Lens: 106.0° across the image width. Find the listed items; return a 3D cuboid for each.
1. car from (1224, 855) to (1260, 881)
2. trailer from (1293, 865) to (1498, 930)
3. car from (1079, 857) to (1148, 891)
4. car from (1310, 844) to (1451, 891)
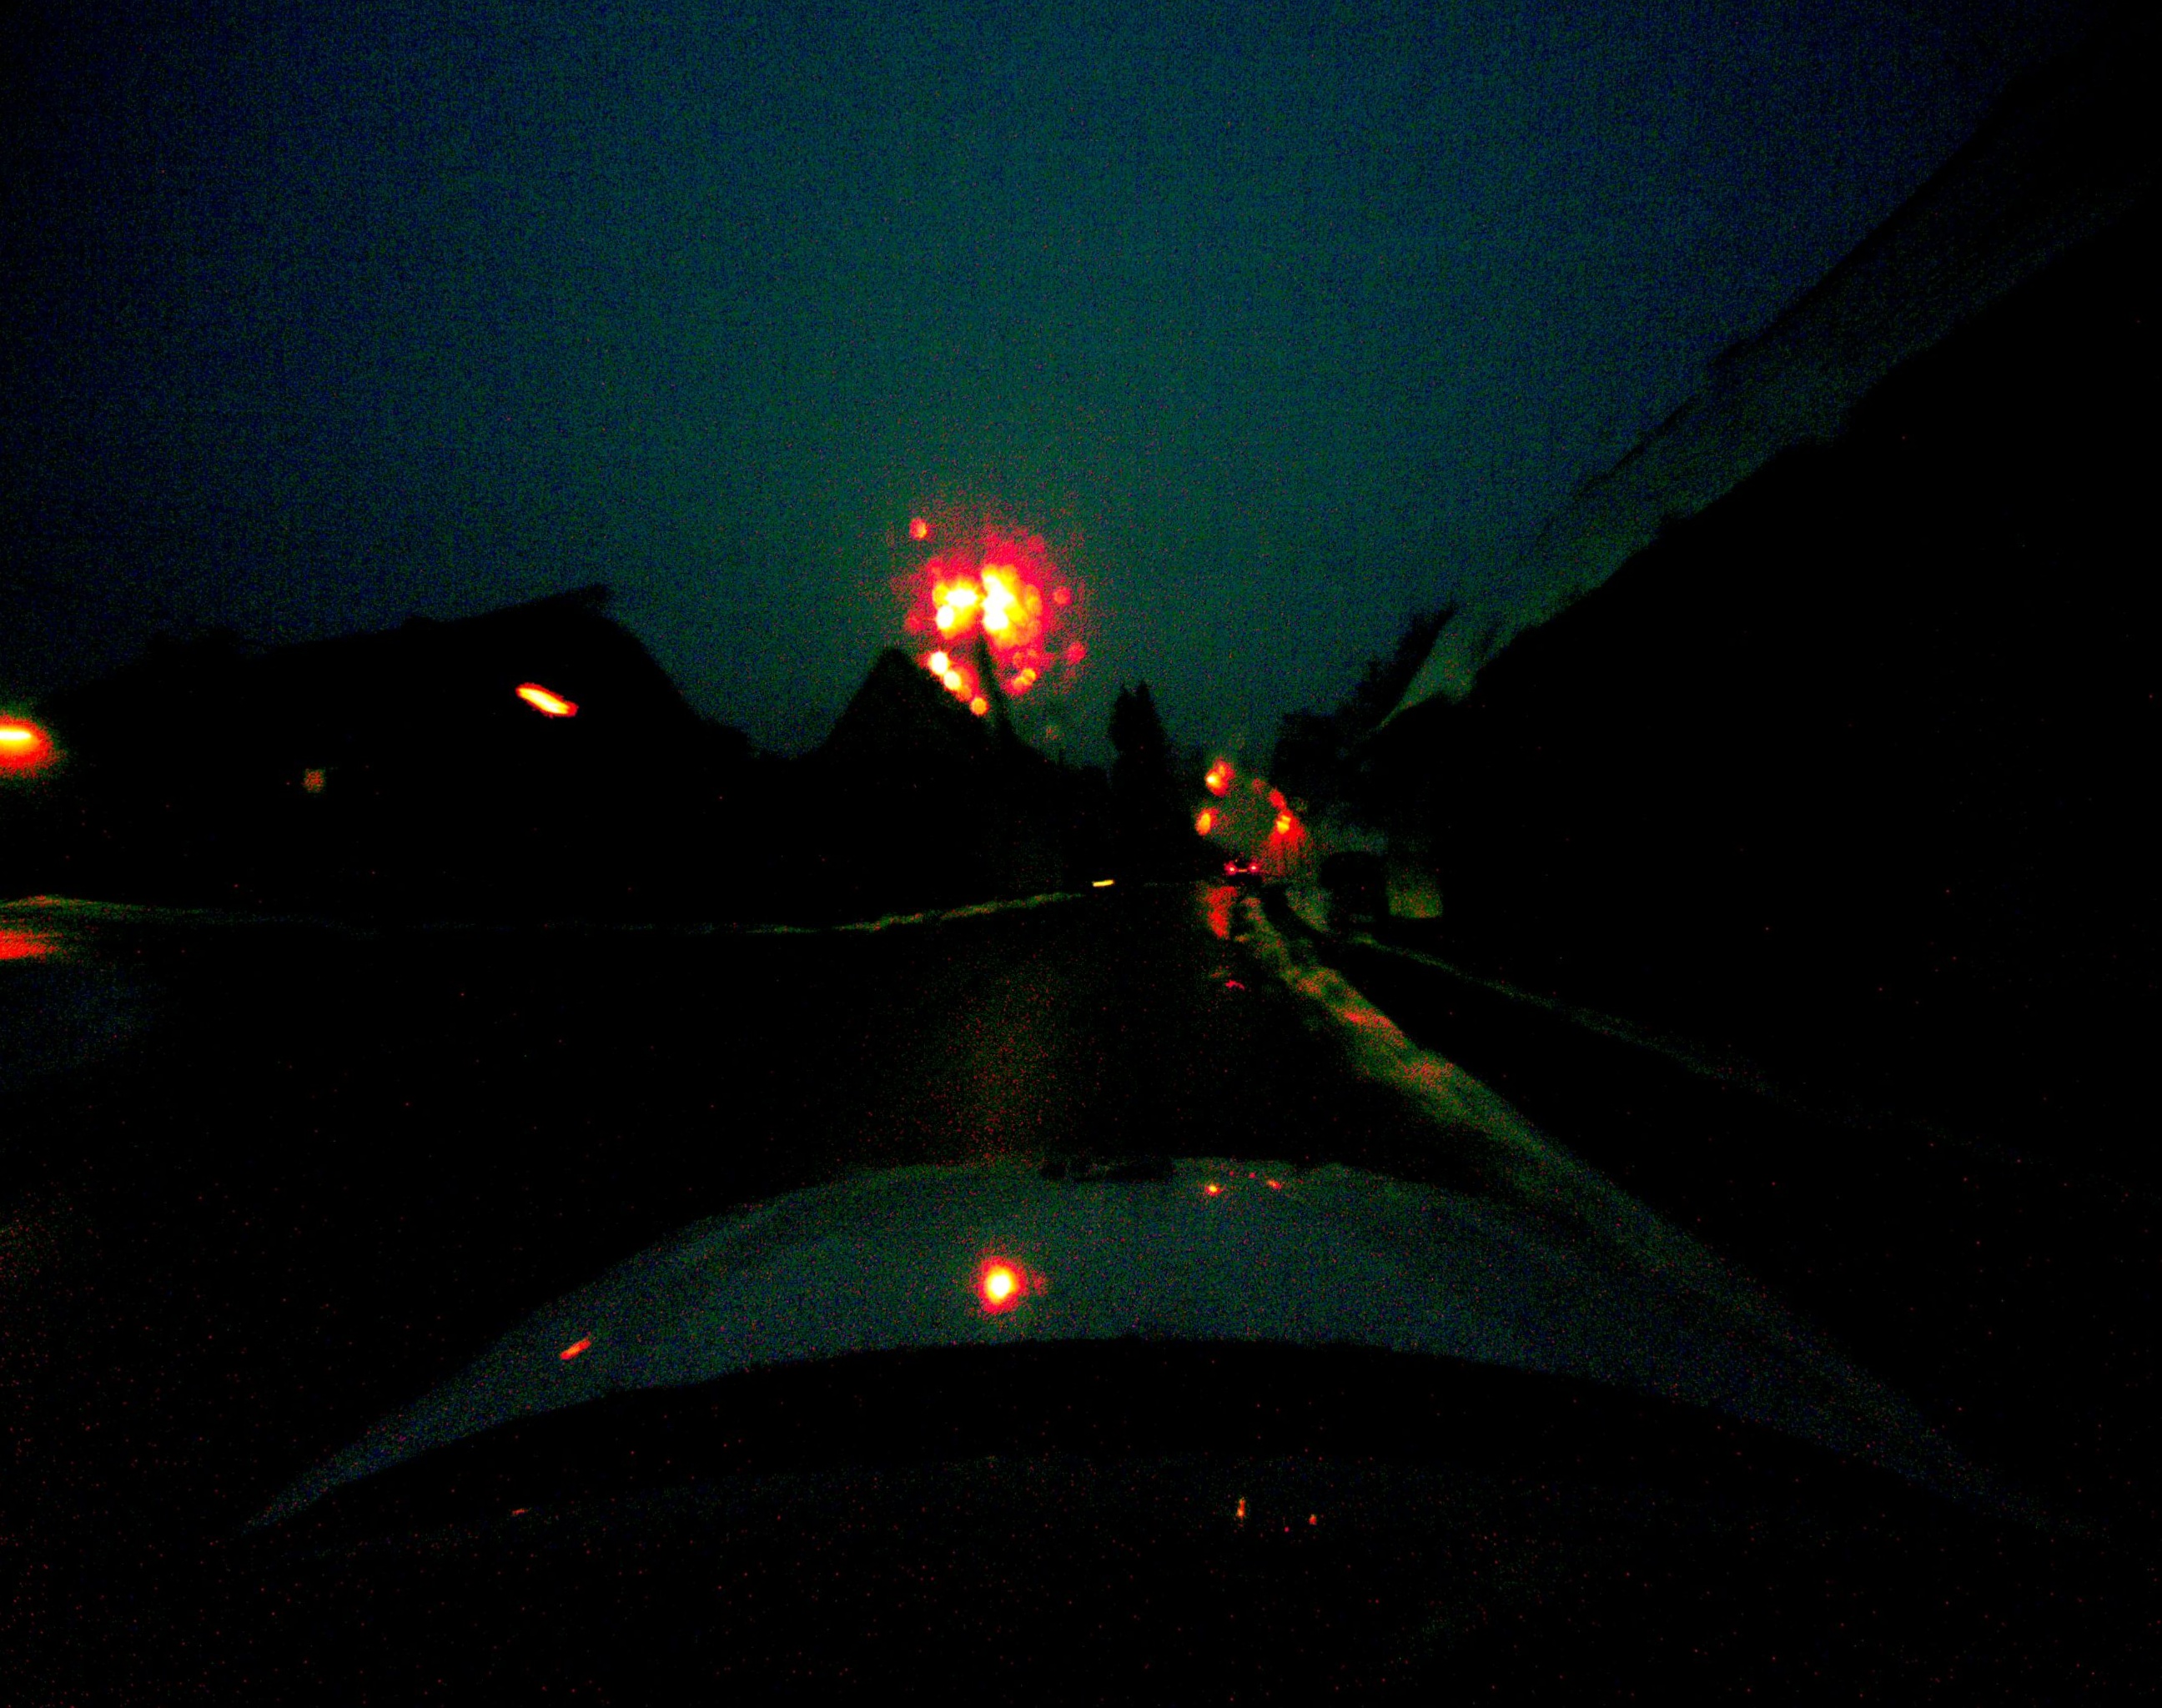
[{"bbox_3d":[9.632,0.867,48.716,1.981,1.420,4.011,-2,-2,11],"label":"car"},{"bbox_3d":[5.622,0.746,15.110,1.546,0.946,3.982,-3,-1,-13],"label":"trailer"},{"bbox_3d":[1.603,0.868,37.317,1.862,1.426,5.415,-1,0,16],"label":"car"},{"bbox_3d":[10.356,0.449,28.466,4.416,1.382,2.045,2,0,17],"label":"car"}]
